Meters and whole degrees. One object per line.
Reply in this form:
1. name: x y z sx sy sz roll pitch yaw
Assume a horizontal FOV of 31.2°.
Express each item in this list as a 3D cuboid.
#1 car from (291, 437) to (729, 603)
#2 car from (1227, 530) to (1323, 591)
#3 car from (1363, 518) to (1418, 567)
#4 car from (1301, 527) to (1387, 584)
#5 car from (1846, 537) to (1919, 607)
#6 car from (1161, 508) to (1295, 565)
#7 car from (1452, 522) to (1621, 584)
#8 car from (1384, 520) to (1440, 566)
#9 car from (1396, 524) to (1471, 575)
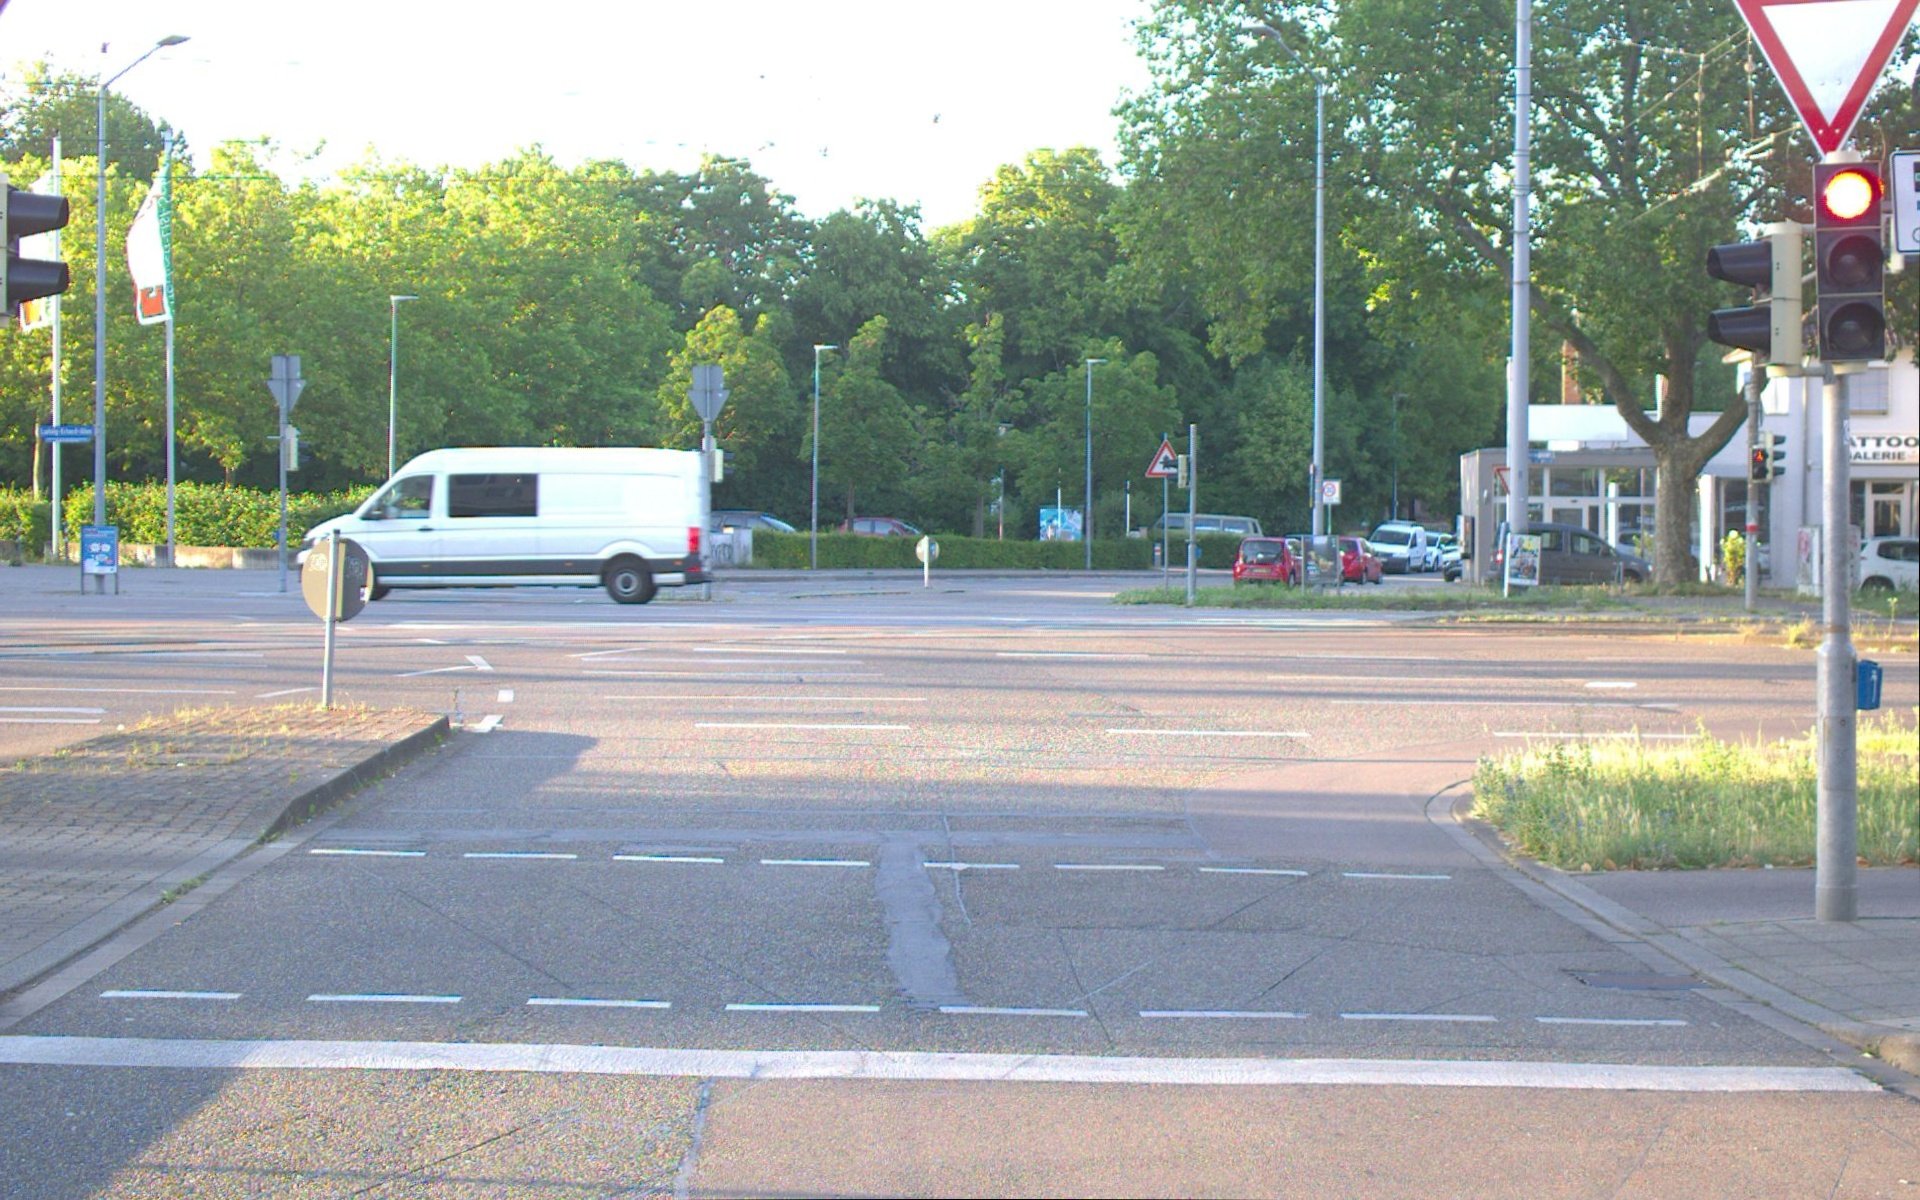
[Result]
1. car: -7.396 -1.304 57.196 6.918 2.627 2.811 0 0 0
2. car: 8.782 -1.095 95.690 1.995 1.656 3.997 1 0 15
3. car: 16.437 -2.185 131.191 1.864 1.788 3.998 1 0 10
4. car: 11.562 -1.334 103.376 1.995 1.656 3.997 1 0 15
5. car: 20.629 -0.579 72.222 3.741 1.435 1.663 1 0 9
6. car: 9.791 -2.315 125.877 4.774 1.999 2.000 0 0 2
7. car: 14.916 -1.212 89.170 4.220 1.547 1.999 1 0 7
8. car: 17.892 -2.248 136.085 1.864 1.788 3.998 1 0 12
9. car: 15.929 -1.672 115.600 1.995 1.656 3.997 1 0 15
